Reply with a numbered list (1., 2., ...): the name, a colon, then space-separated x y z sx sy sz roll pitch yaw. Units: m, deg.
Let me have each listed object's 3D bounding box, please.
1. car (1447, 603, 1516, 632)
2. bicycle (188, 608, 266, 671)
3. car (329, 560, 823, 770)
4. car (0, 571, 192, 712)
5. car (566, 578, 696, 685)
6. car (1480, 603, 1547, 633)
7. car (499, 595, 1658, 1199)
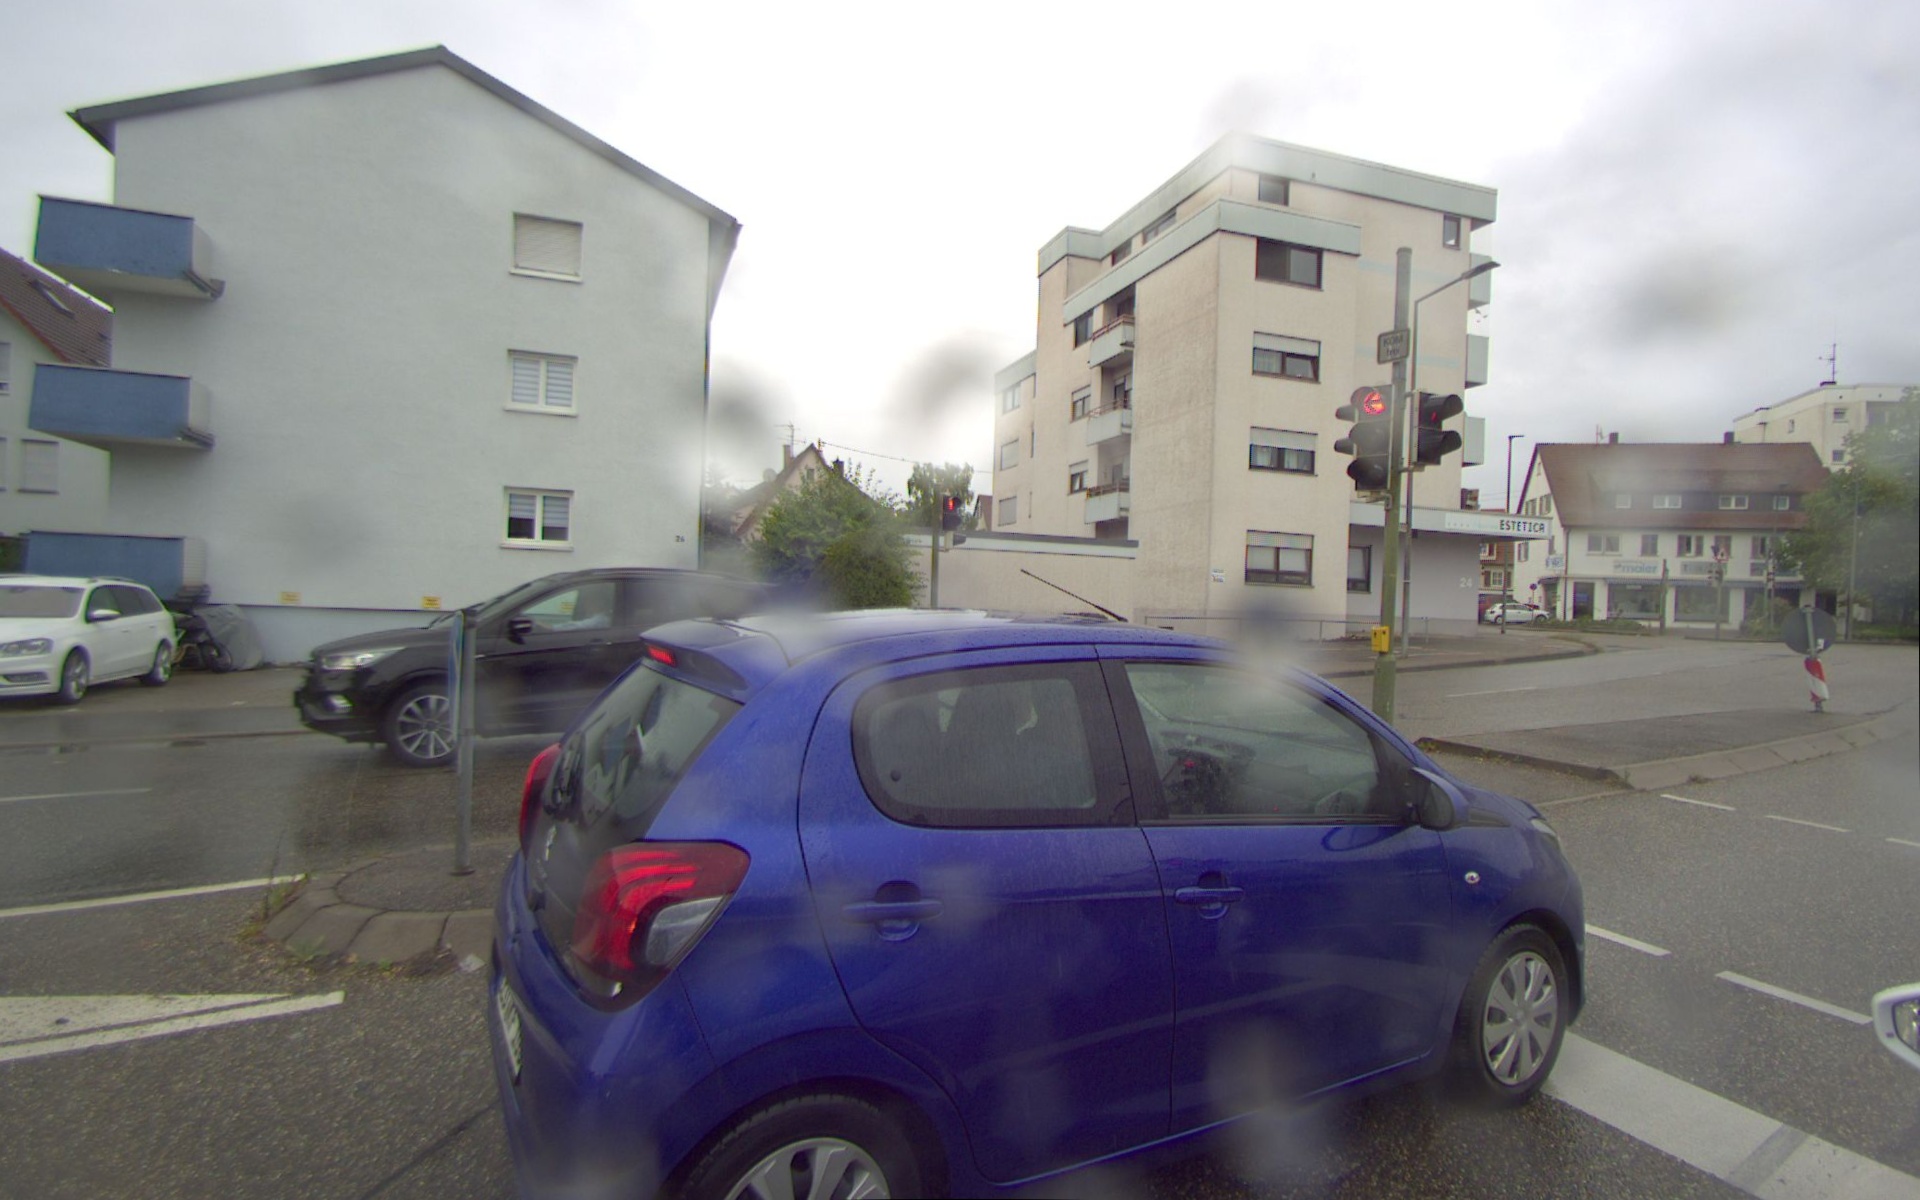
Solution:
1. car: 37.211 1.229 71.729 3.987 1.868 1.889 2 0 14
2. bicycle: -12.693 0.678 17.420 1.053 1.067 0.345 0 1 -30
3. car: -3.602 0.540 9.674 4.141 1.618 1.867 1 -1 -34
4. car: -11.479 0.447 12.505 1.854 1.480 4.732 1 -1 -23
5. car: -5.762 0.501 17.575 1.884 1.637 3.982 2 0 -19
6. car: 37.919 1.225 68.899 3.611 1.946 1.889 2 0 14
7. car: 0.471 0.735 3.101 3.324 1.432 1.498 1 1 -30
